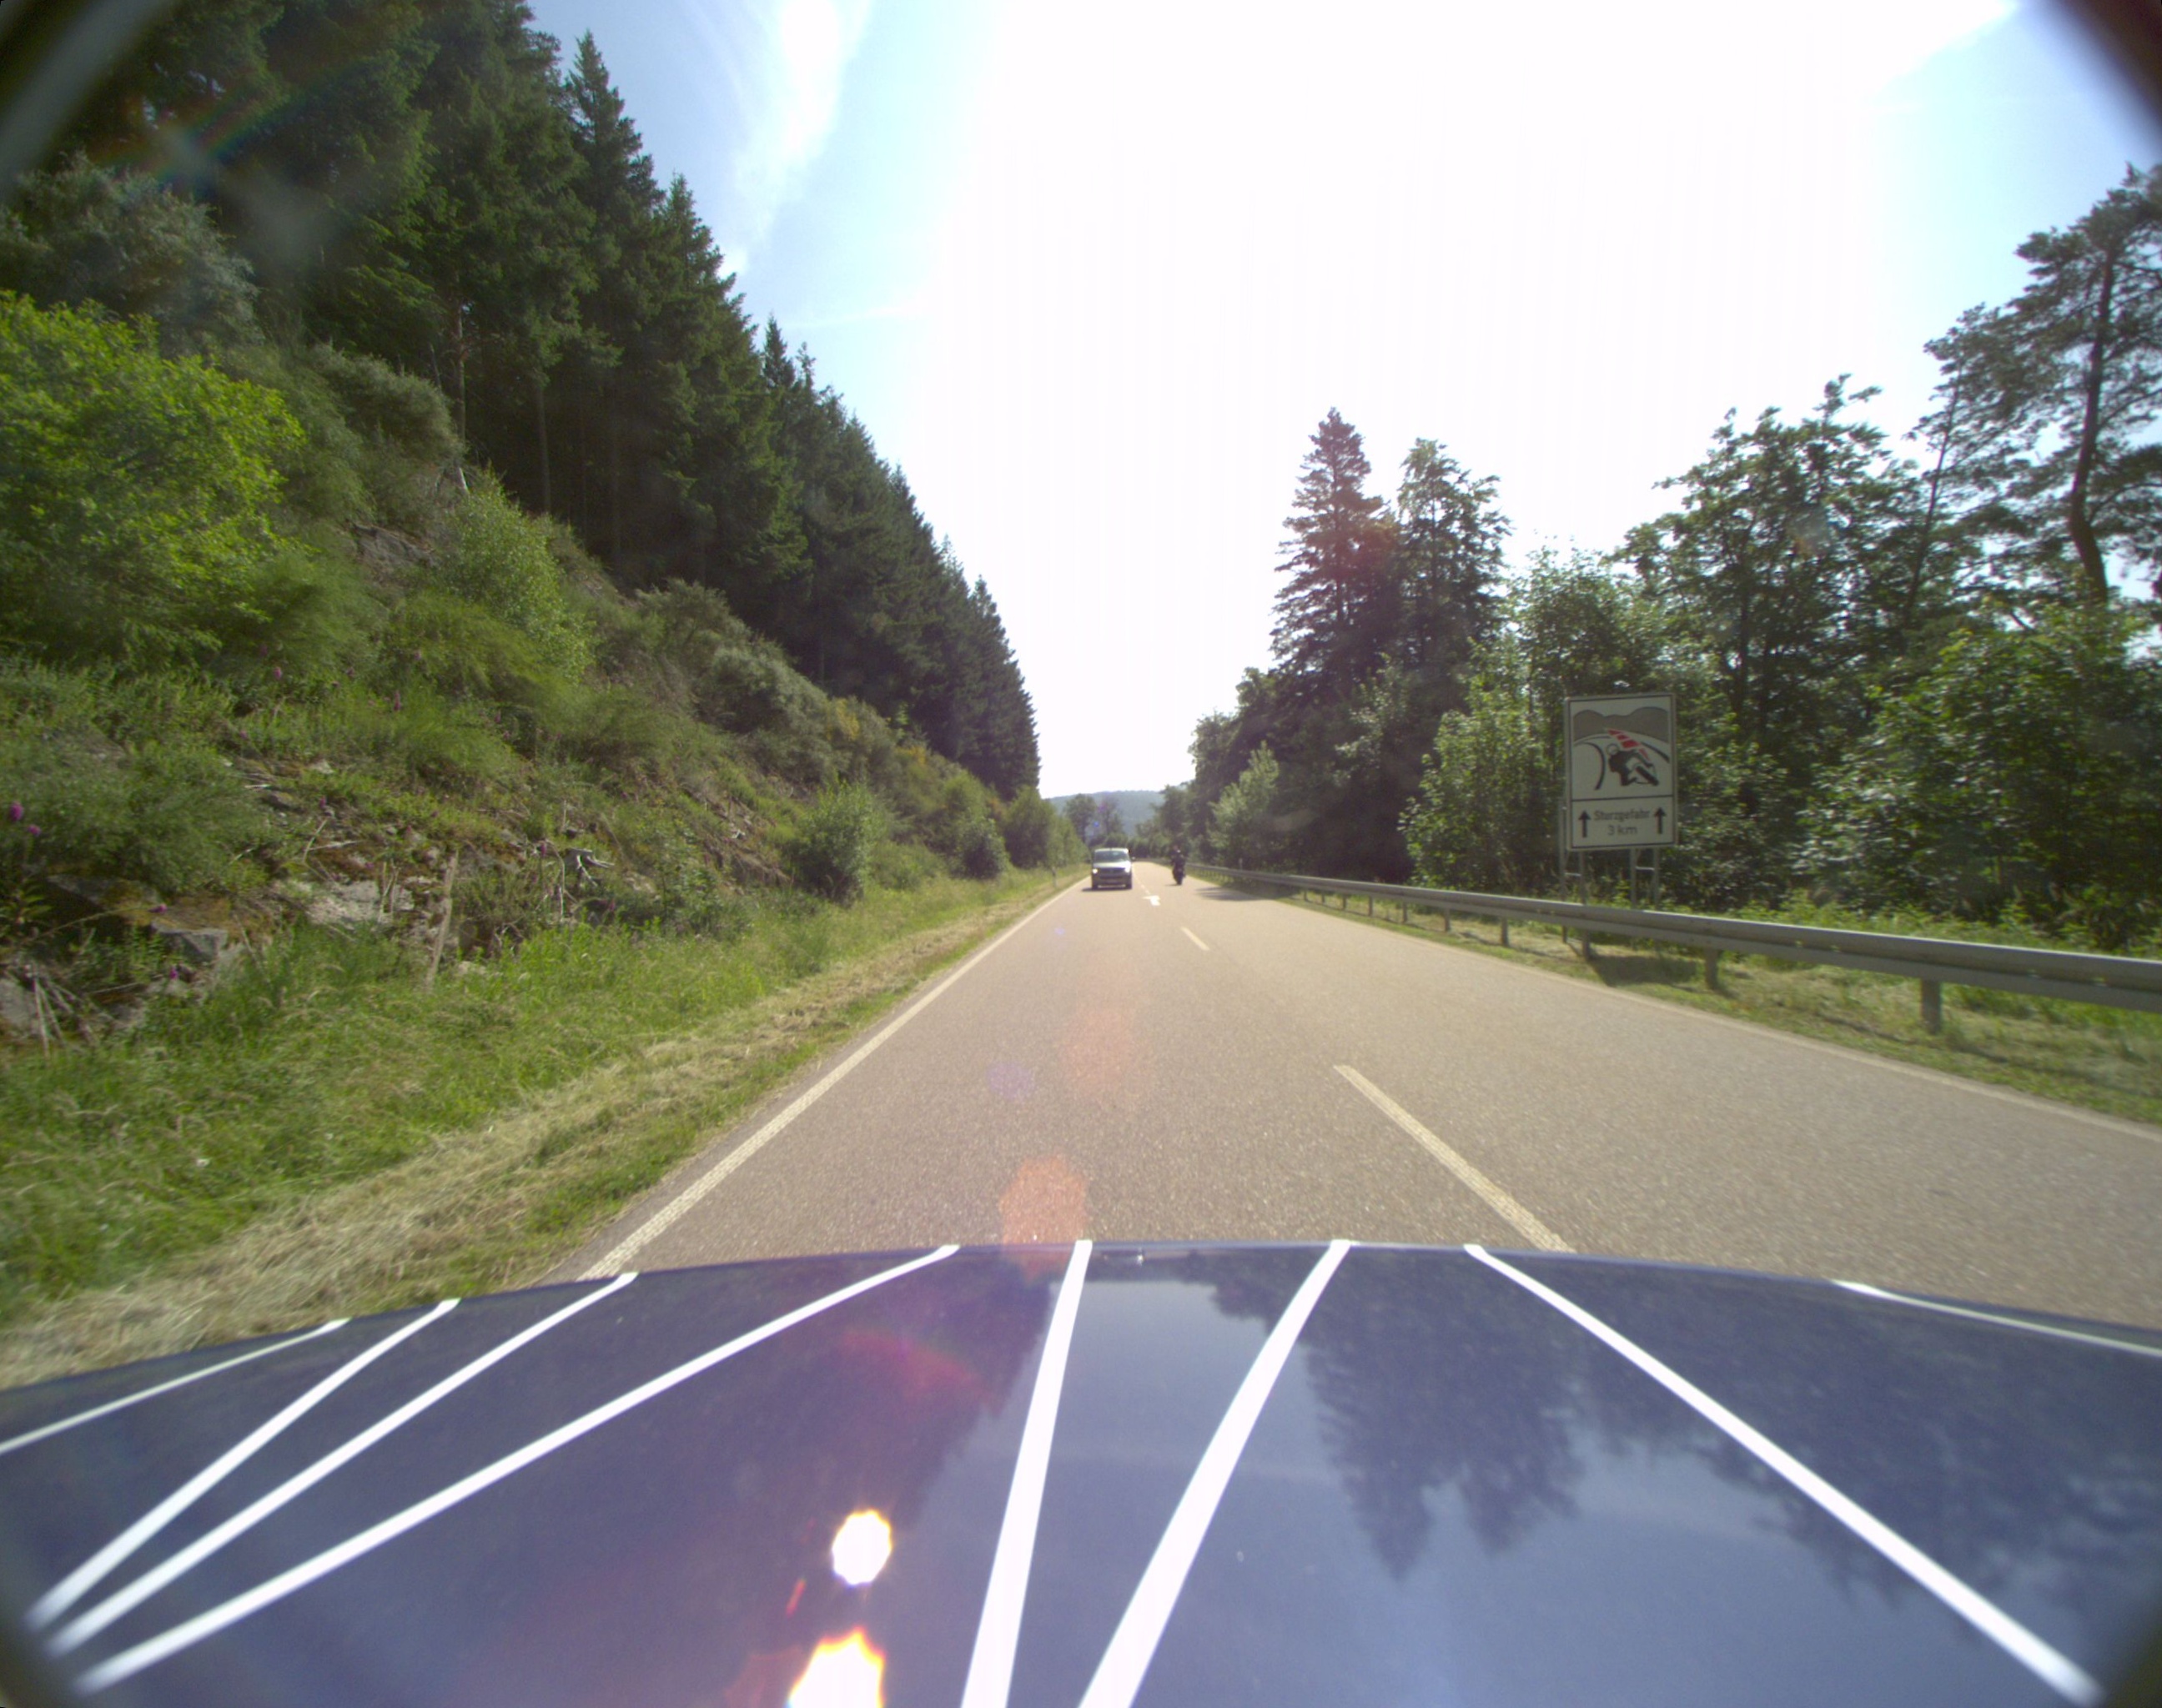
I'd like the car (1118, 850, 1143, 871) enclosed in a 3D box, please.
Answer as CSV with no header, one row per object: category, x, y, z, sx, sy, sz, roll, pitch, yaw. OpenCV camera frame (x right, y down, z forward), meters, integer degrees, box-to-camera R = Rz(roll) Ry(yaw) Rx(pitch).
car,4.510,0.585,69.729,2.137,1.824,4.723,-1,0,3

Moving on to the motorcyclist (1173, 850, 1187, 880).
motorcyclist,5.106,0.549,39.292,0.659,1.504,0.934,-1,0,6

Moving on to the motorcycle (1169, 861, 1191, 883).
motorcycle,5.099,0.907,39.382,0.987,1.065,1.963,-2,0,4

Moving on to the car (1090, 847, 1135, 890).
car,1.530,0.656,36.576,1.990,1.899,4.761,-1,0,2
